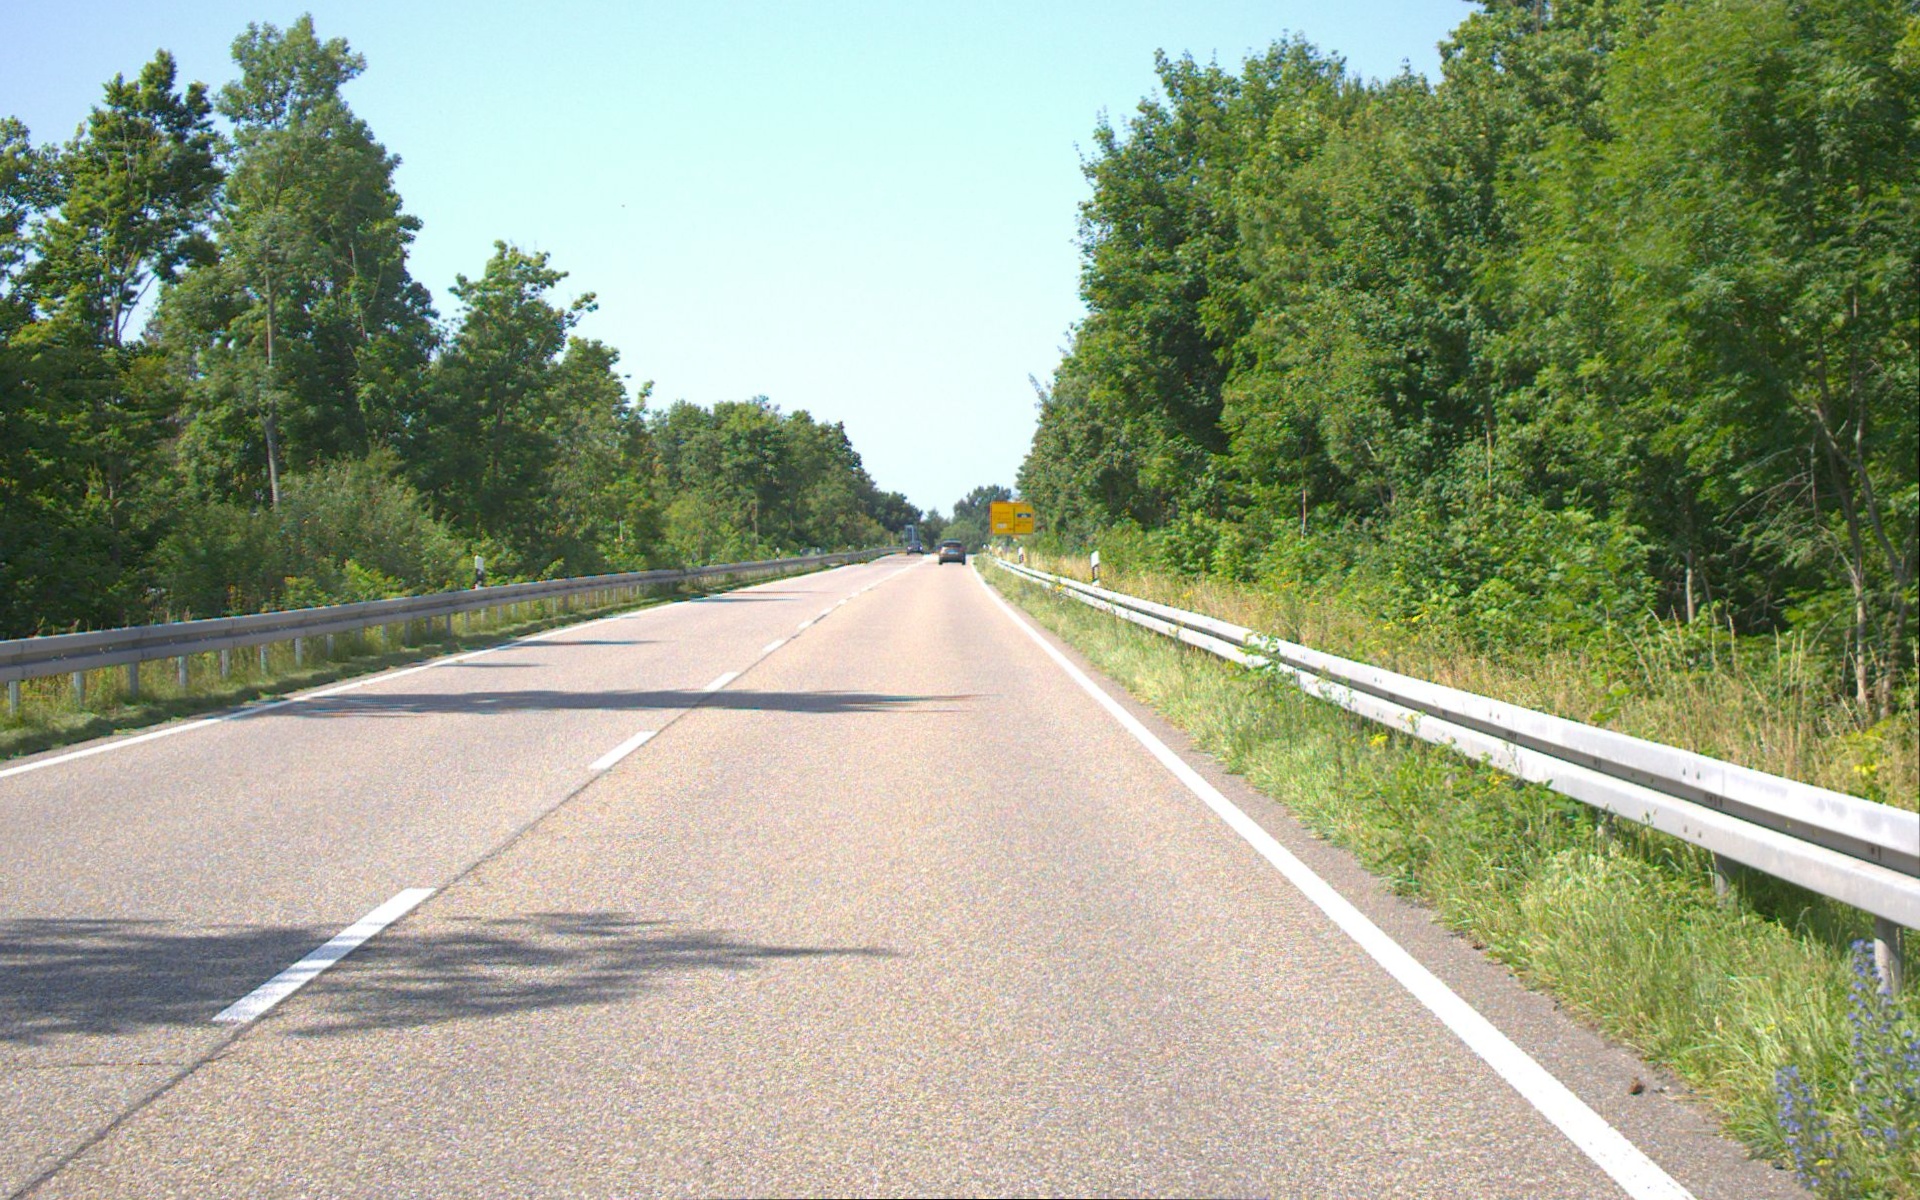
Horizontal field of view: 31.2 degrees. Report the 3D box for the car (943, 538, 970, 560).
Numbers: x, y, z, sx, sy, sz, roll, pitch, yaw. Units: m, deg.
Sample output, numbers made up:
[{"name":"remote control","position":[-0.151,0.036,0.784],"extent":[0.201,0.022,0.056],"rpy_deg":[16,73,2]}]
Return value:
[{"name":"car","position":[-0.225,-3.382,227.854],"extent":[1.741,1.465,3.692],"rpy_deg":[0,1,1]}]
